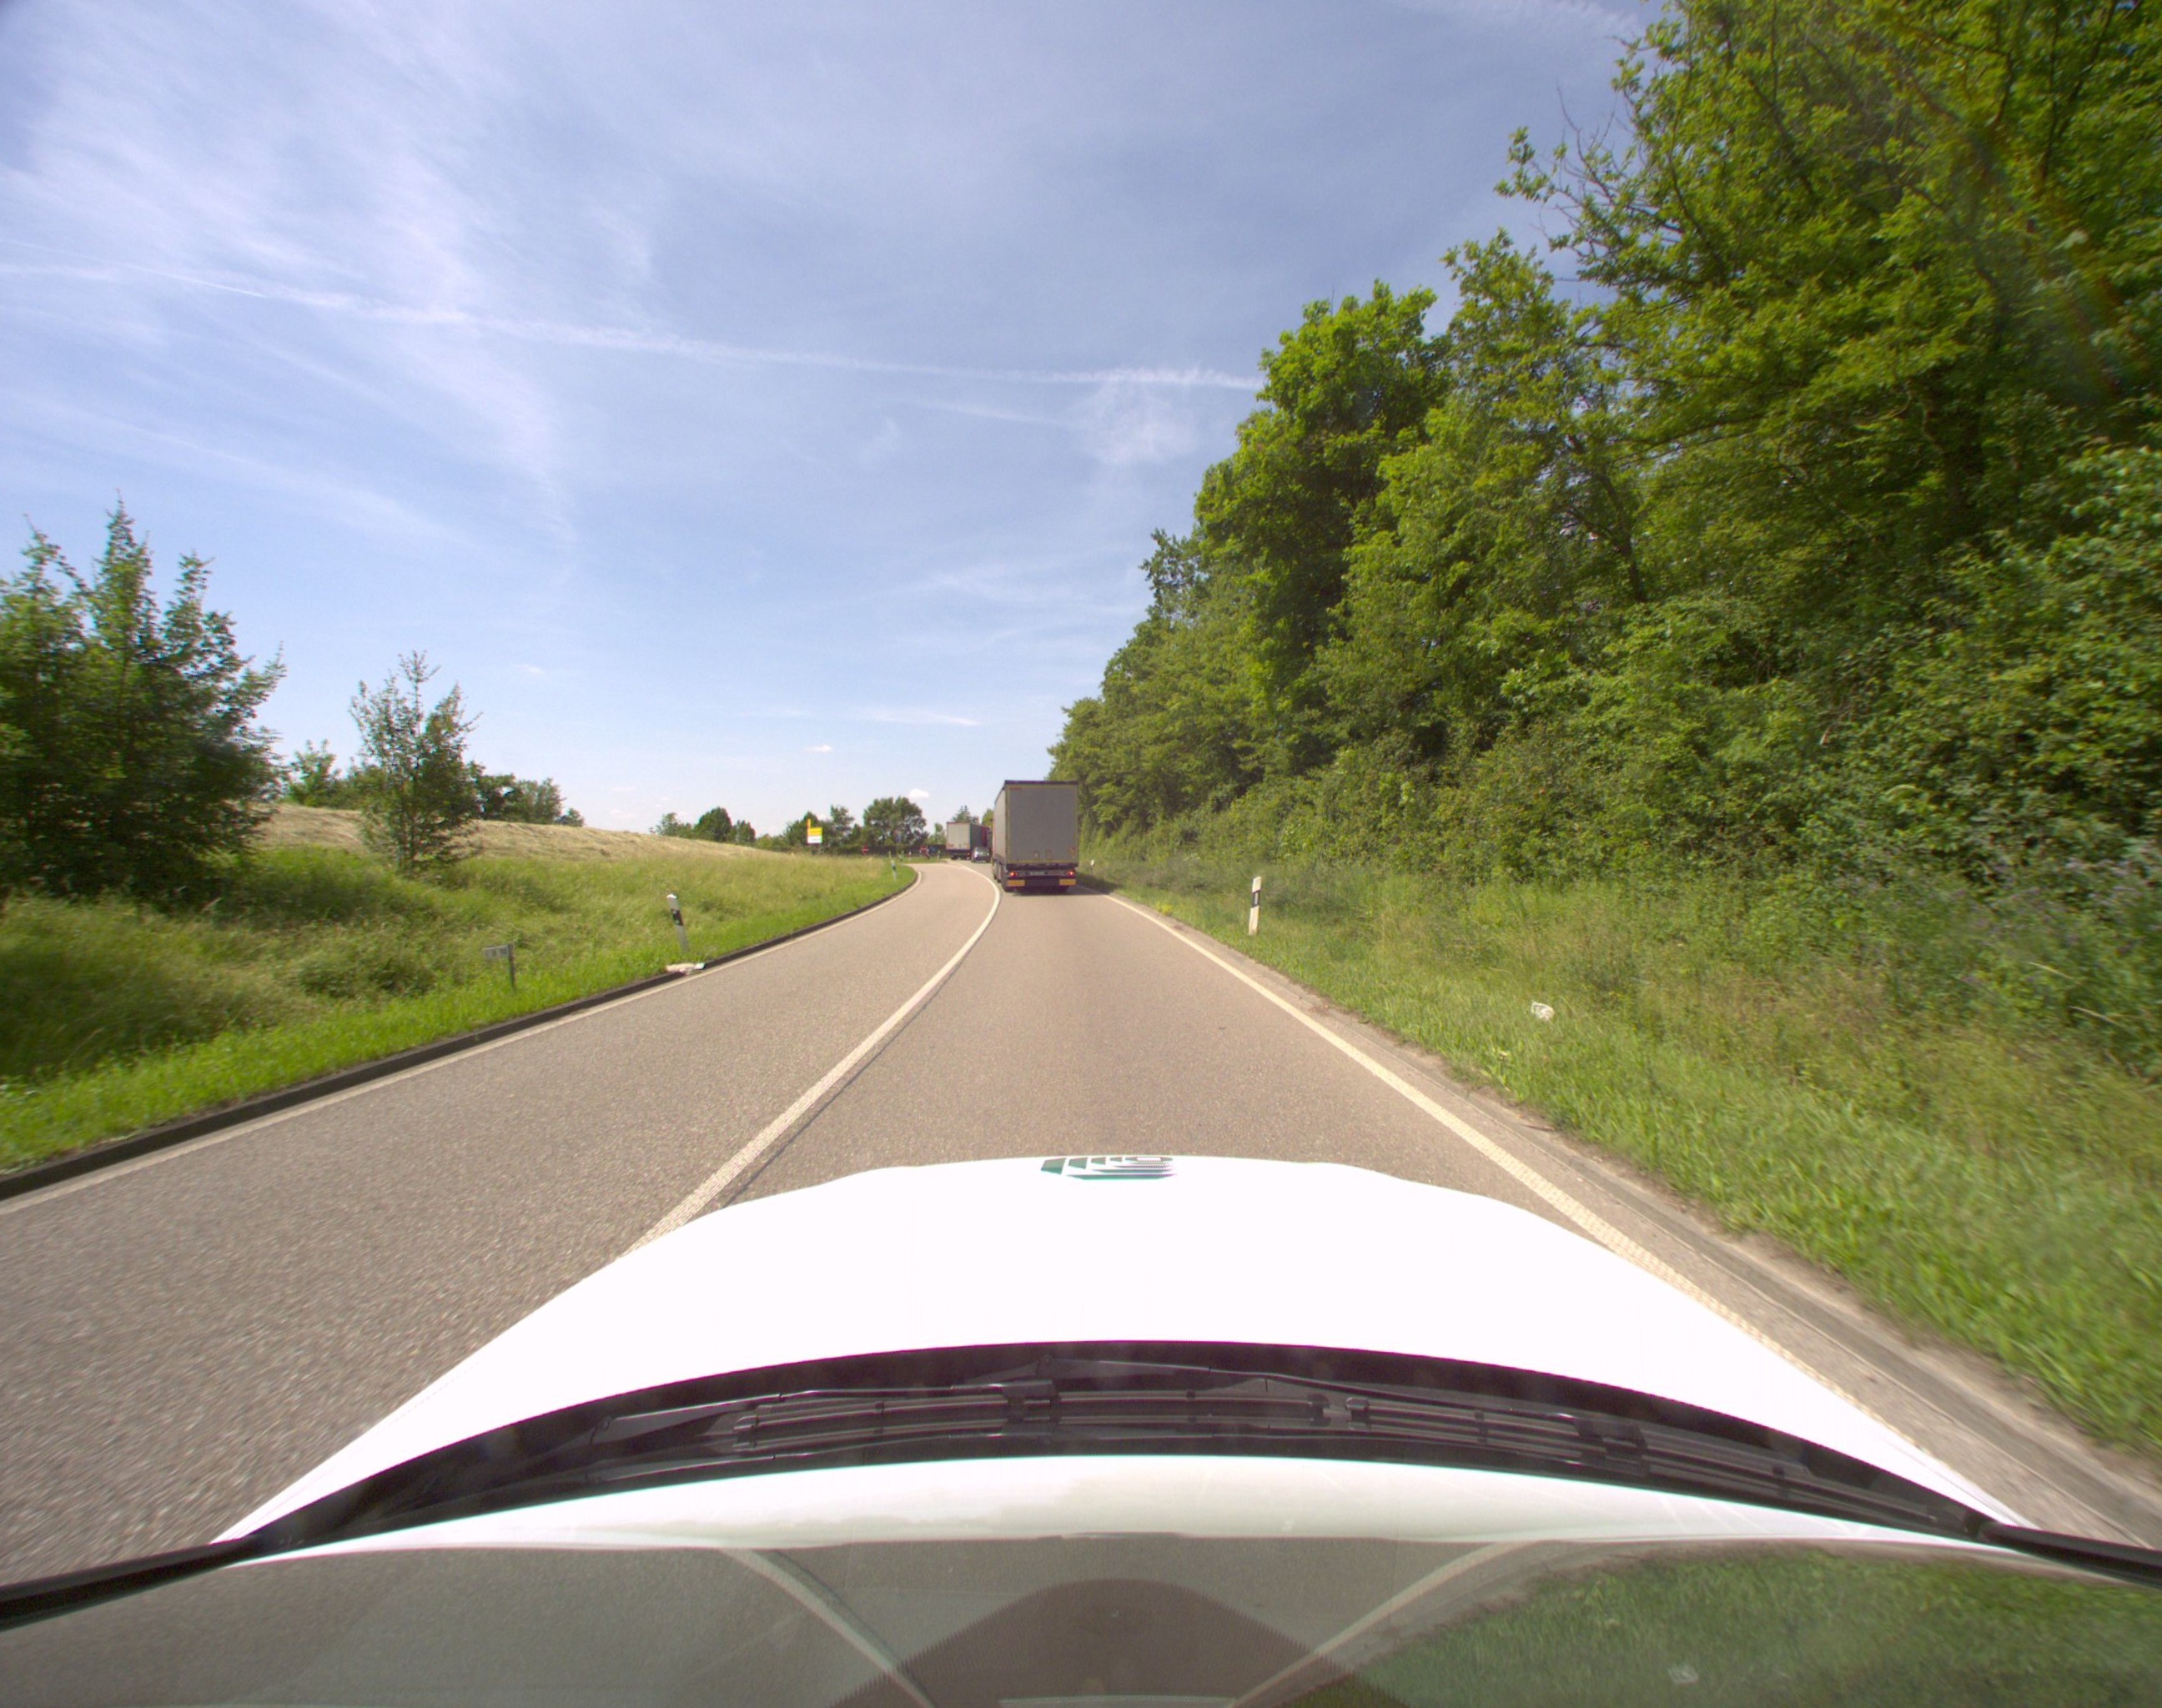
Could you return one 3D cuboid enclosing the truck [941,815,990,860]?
[{"bbox_3d":[-13.038,-1.809,93.811,3.819,4.744,16.190,-1,0,-2],"label":"truck"}]

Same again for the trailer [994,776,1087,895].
[{"bbox_3d":[-2.079,-0.612,34.502,3.024,4.034,13.319,0,0,-7],"label":"trailer"}]

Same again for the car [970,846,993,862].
[{"bbox_3d":[-9.400,-0.042,76.520,1.668,1.486,3.981,-1,1,-14],"label":"car"}]

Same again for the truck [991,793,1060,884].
[{"bbox_3d":[-2.967,-0.698,41.443,3.150,4.225,7.104,0,0,-7],"label":"truck"}]
